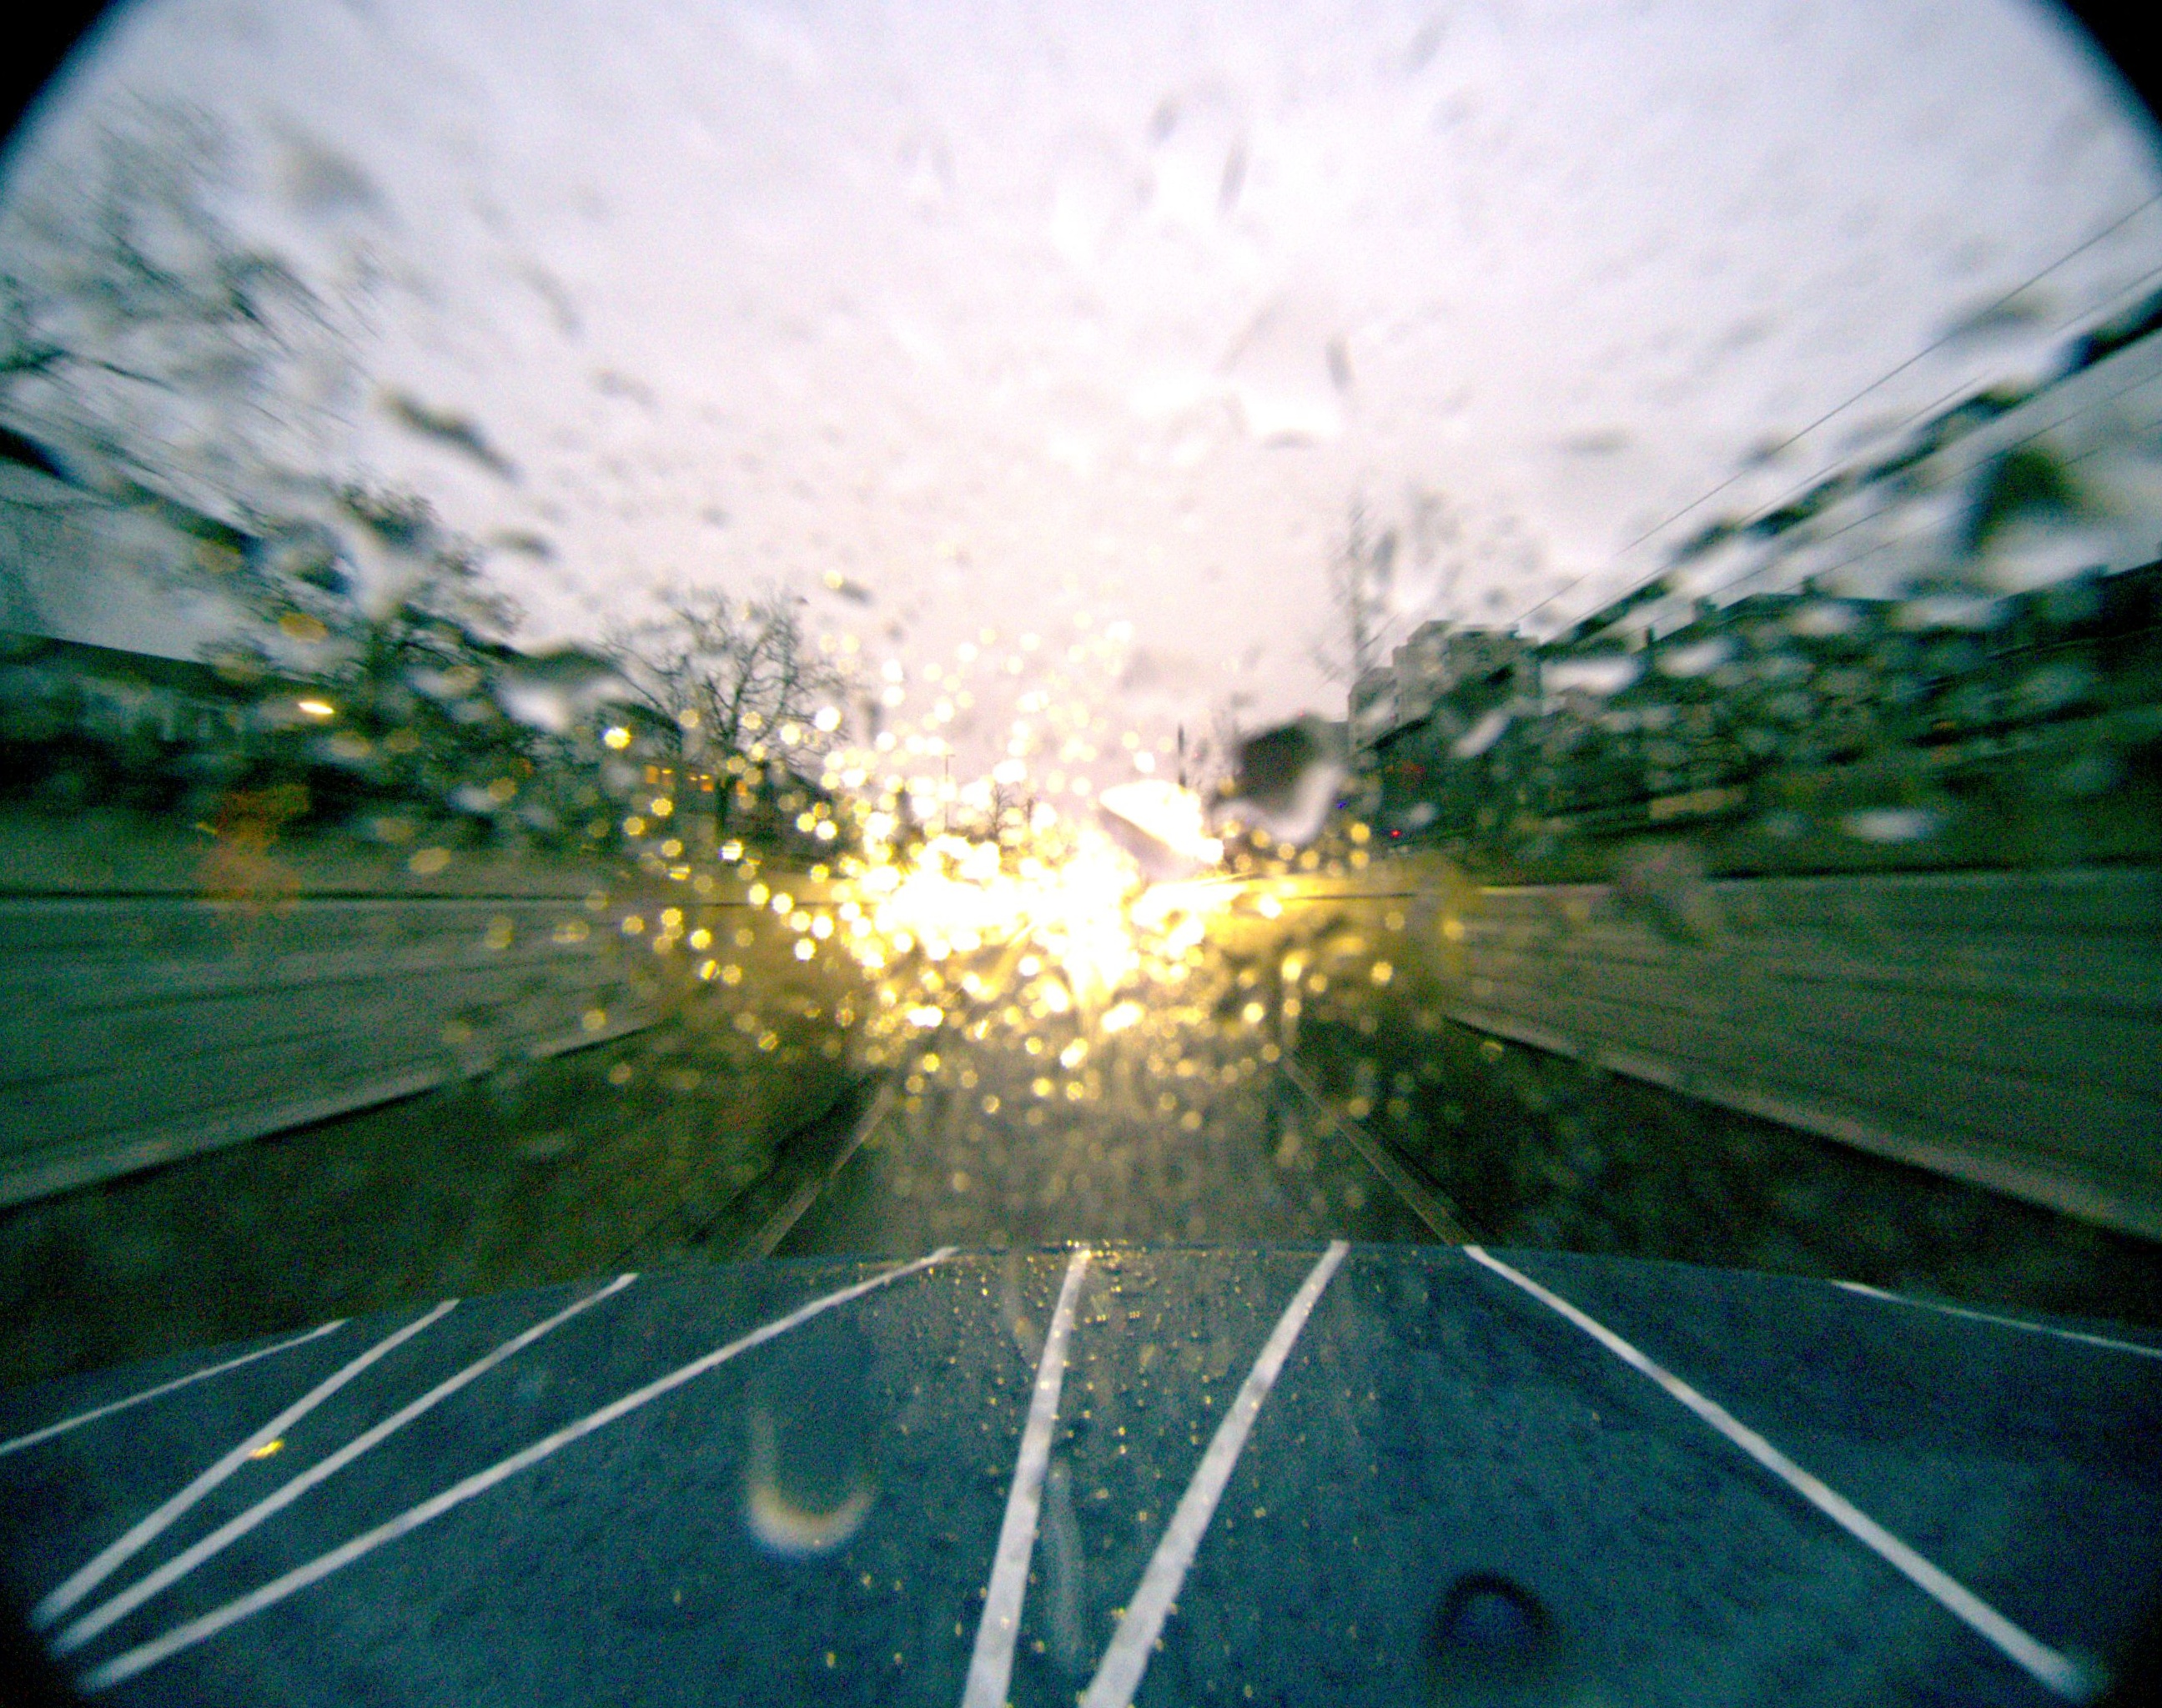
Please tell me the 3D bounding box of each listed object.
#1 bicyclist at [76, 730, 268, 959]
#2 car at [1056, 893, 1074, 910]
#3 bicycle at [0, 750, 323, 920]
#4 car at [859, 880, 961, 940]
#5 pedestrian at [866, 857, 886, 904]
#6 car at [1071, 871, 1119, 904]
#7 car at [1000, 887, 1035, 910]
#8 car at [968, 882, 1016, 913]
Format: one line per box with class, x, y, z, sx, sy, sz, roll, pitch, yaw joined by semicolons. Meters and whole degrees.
bicyclist;-7.440;-0.055;6.270;0.501;1.755;0.837;-1;-3;0
car;-1.784;5.281;84.755;1.678;1.738;3.867;-1;-3;2
bicycle;-7.474;-0.070;6.249;0.412;1.177;2.030;-1;-3;0
car;-4.714;1.522;21.502;1.726;1.470;4.003;-3;-3;3
pedestrian;-8.353;1.100;30.988;0.533;1.867;0.901;-1;-3;0
car;0.709;1.634;36.849;2.160;1.489;4.010;-1;-3;2
car;-4.229;2.930;50.895;1.778;1.452;4.043;-1;-3;3
car;-4.610;2.268;40.009;1.791;1.492;4.970;-1;-2;1
